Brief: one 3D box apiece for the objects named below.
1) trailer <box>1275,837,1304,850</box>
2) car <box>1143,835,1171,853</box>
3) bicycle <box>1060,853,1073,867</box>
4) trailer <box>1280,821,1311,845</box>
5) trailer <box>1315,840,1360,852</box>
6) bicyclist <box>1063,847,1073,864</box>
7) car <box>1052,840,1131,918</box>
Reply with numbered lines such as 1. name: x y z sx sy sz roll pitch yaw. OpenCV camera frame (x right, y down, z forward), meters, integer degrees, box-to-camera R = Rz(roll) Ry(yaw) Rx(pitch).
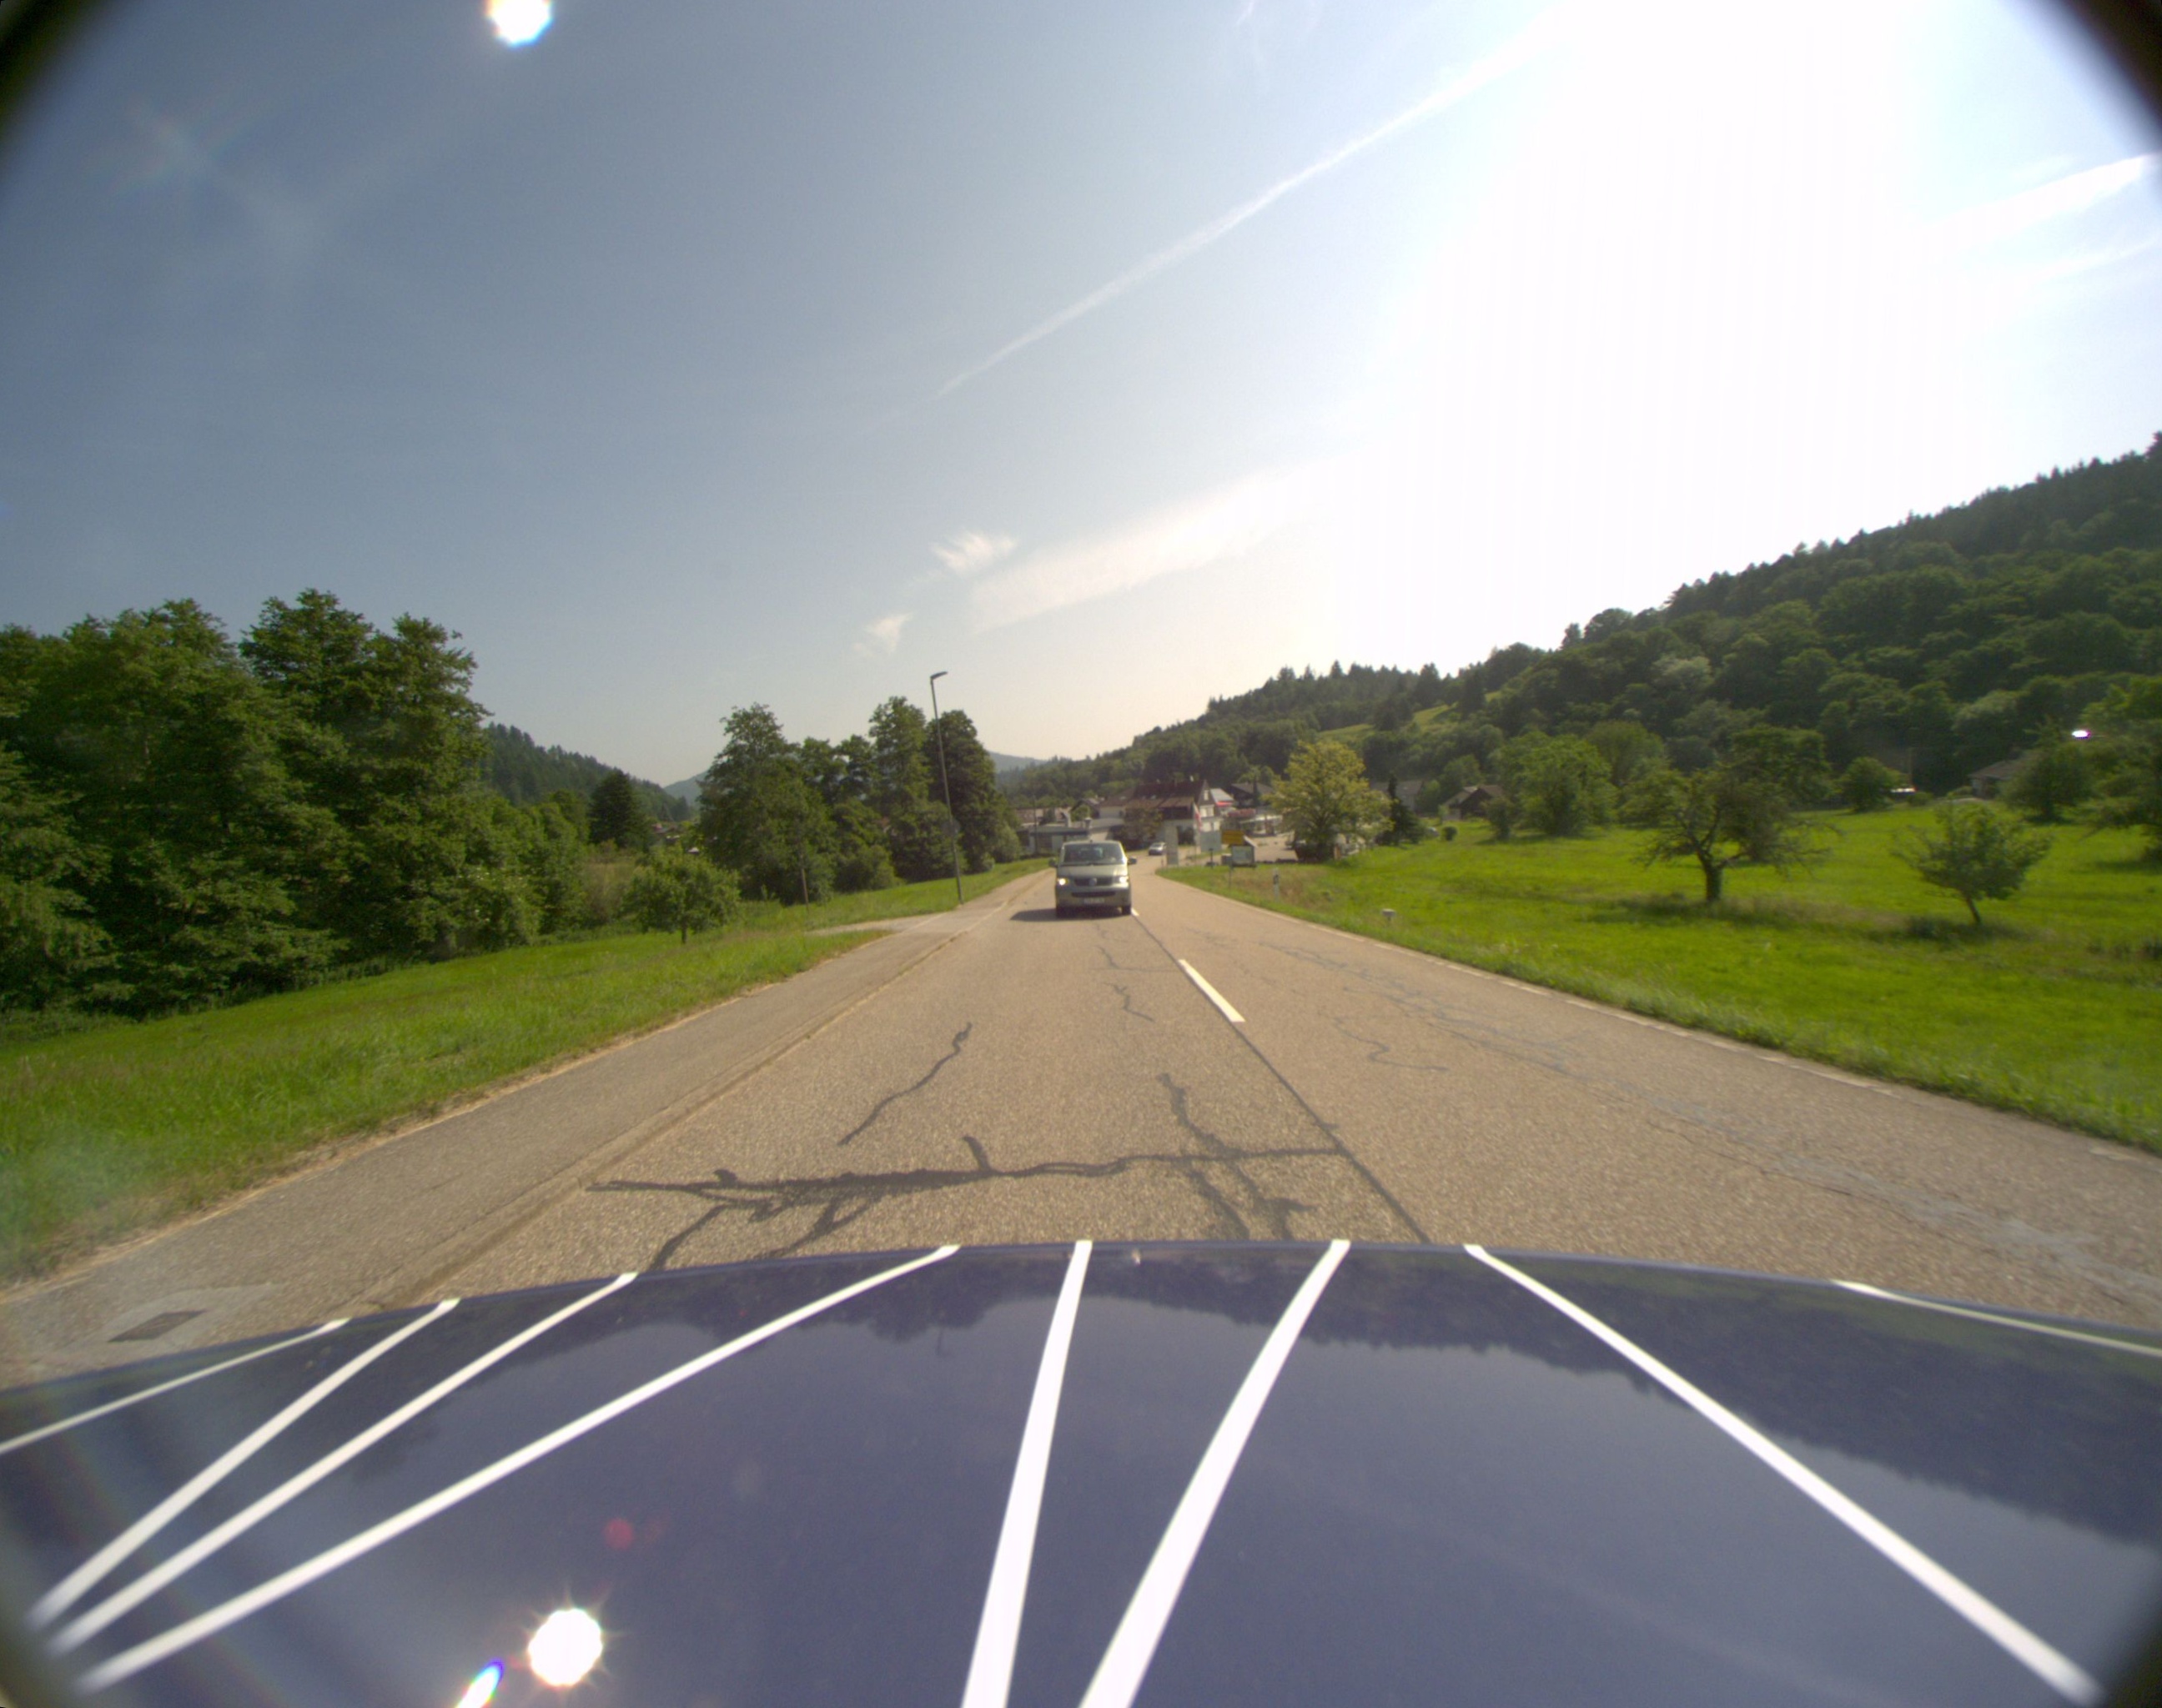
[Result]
1. trailer: 25.217 -1.268 91.911 1.995 1.220 5.553 -2 3 30
2. car: 9.270 -1.246 92.314 1.764 1.737 3.984 -2 5 29
3. bicycle: -1.191 0.487 62.875 0.580 1.029 1.992 2 4 16
4. trailer: 27.511 -2.664 97.302 3.394 2.896 1.886 -2 3 27
5. trailer: 26.186 -0.811 77.571 3.935 0.934 1.870 -2 4 32
6. bicyclist: -1.077 0.149 63.219 0.580 1.335 1.146 2 4 16
7. car: 0.216 0.640 22.018 2.024 1.970 5.048 -1 0 -1
